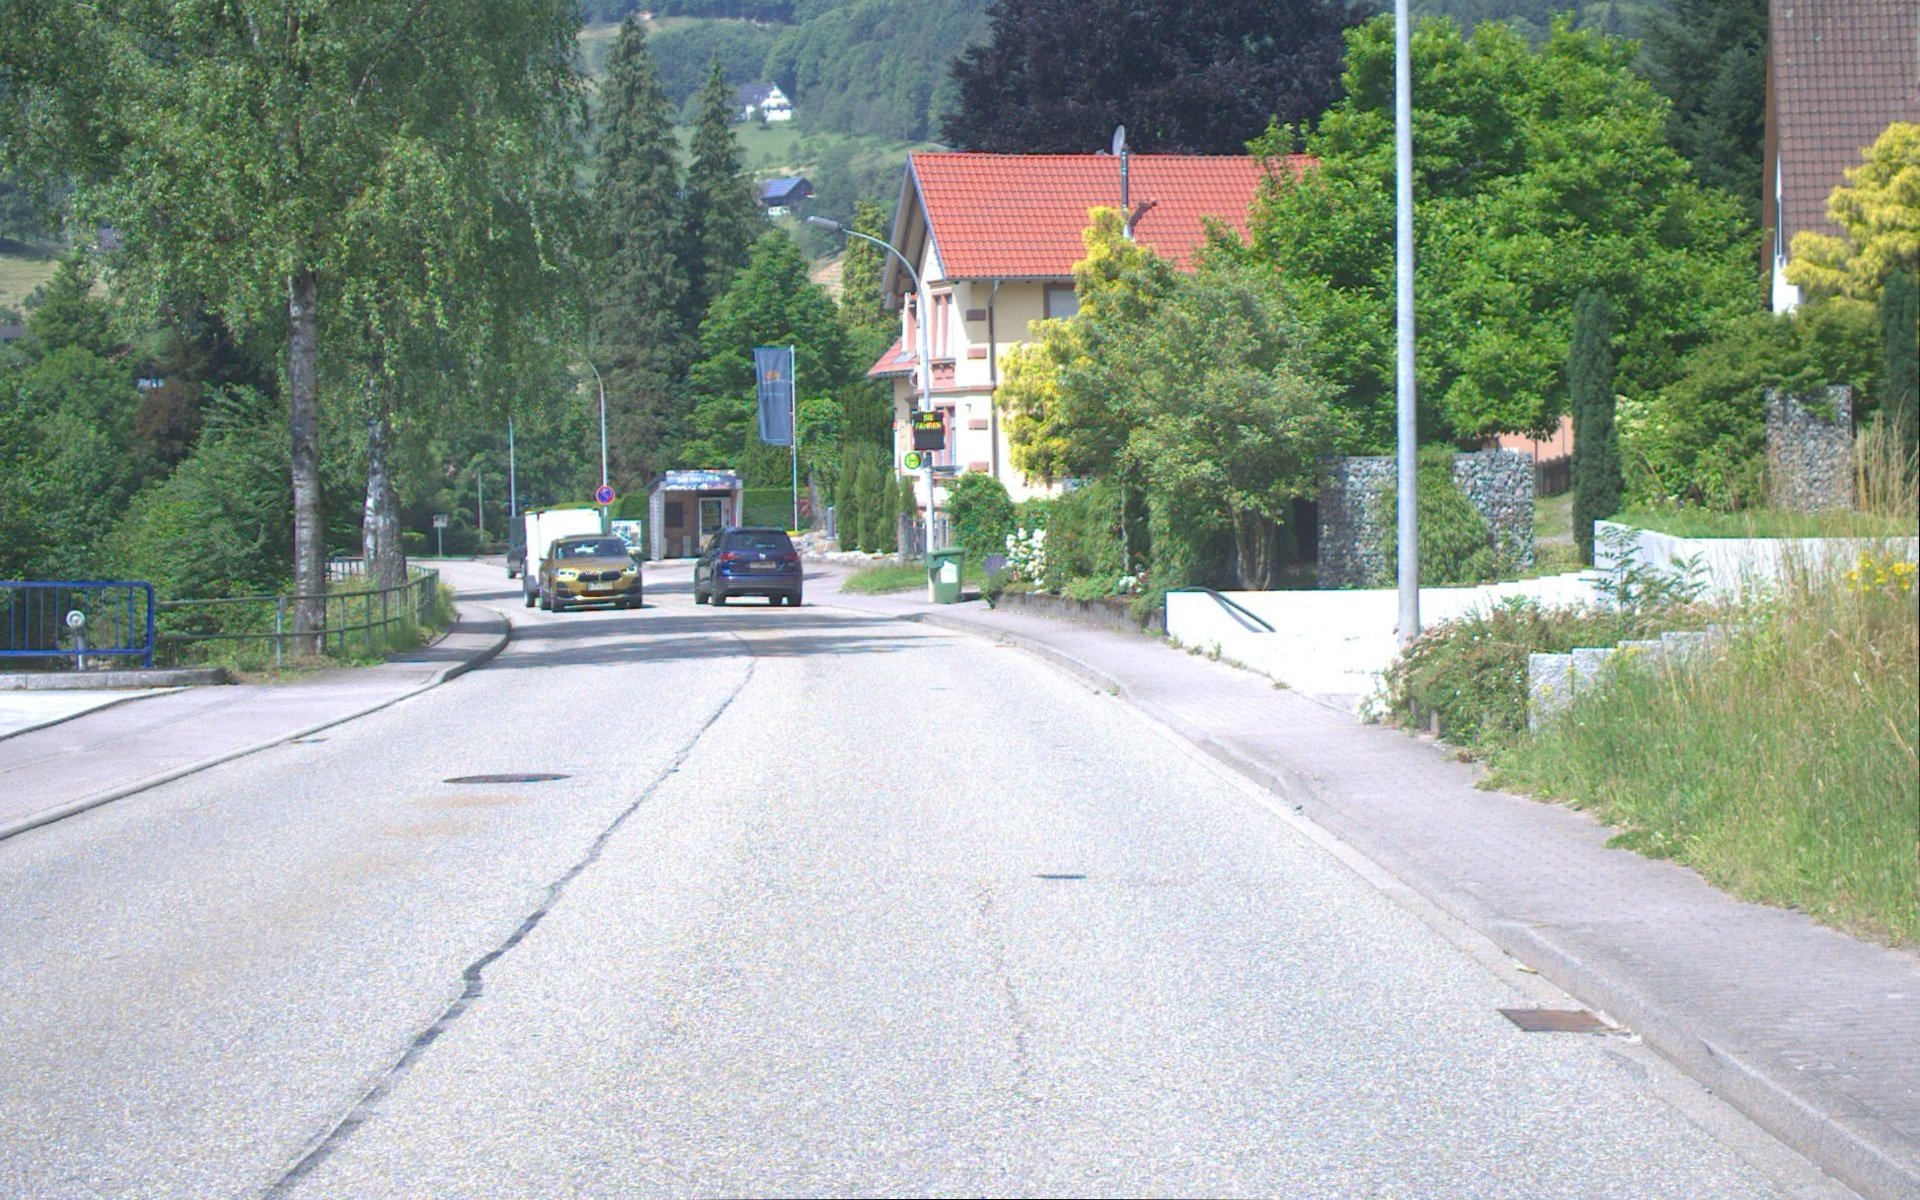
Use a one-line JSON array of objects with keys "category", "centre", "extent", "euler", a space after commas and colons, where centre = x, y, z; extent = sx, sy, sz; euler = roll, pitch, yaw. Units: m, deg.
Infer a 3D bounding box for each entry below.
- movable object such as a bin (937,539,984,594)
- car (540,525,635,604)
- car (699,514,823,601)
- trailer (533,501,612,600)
[{"category": "movable object such as a bin", "centre": [0.008, -0.657, 66.658], "extent": [0.809, 1.039, 0.579], "euler": [-2, 2, -9]}, {"category": "car", "centre": [-7.563, -0.748, 70.032], "extent": [1.813, 1.495, 4.150], "euler": [-2, 1, -6]}, {"category": "car", "centre": [-4.133, -0.898, 70.882], "extent": [1.919, 1.692, 3.789], "euler": [-2, 1, -12]}, {"category": "trailer", "centre": [-8.430, -1.099, 74.983], "extent": [1.466, 2.070, 3.671], "euler": [-2, 1, -3]}]
